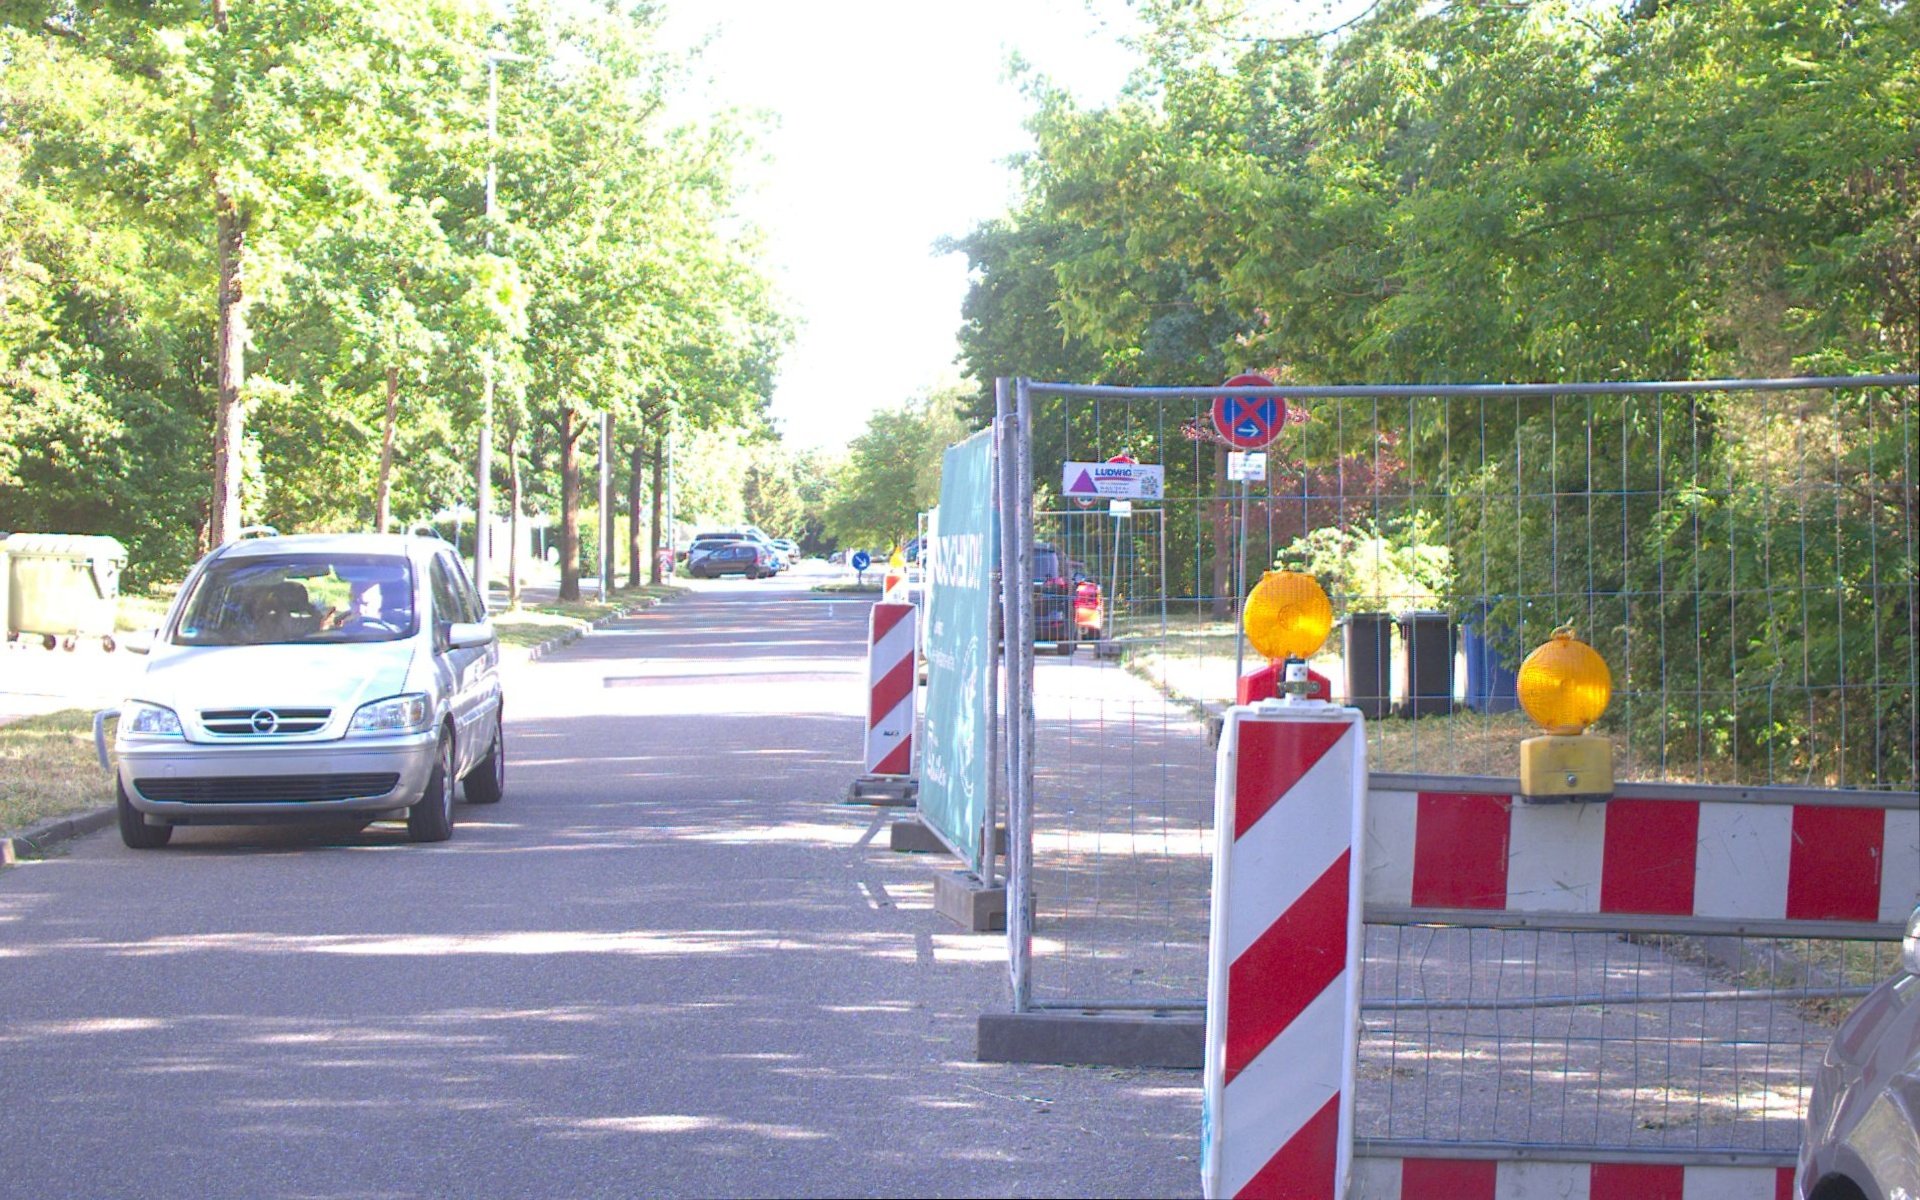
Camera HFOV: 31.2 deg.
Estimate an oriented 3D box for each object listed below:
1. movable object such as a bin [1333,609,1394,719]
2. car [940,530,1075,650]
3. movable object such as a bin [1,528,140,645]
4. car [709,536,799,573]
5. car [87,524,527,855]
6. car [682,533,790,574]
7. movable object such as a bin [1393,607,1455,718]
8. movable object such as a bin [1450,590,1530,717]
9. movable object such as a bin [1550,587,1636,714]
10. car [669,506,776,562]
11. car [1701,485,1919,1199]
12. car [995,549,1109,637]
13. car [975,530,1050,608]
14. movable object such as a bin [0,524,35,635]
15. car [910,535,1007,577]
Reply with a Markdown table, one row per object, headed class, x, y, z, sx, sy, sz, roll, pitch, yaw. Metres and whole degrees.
| class | x | y | z | sx | sy | sz | roll | pitch | yaw |
| --- | --- | --- | --- | --- | --- | --- | --- | --- | --- |
| movable object such as a bin | 3.246 | 0.511 | 27.660 | 0.413 | 0.867 | 0.484 | -1 | 0 | -1 |
| car | 0.755 | -0.181 | 51.390 | 1.810 | 1.645 | 4.420 | 2 | 1 | 3 |
| movable object such as a bin | -11.110 | -0.179 | 42.983 | 1.270 | 1.430 | 1.181 | 0 | 1 | 15 |
| car | -9.823 | -2.168 | 164.067 | 4.107 | 1.571 | 1.958 | 2 | 1 | 1 |
| car | -3.481 | 0.405 | 19.011 | 1.659 | 1.590 | 4.009 | -2 | 1 | 0 |
| car | -9.623 | -2.000 | 147.762 | 4.319 | 1.571 | 2.046 | 2 | 1 | 6 |
| movable object such as a bin | 3.736 | 0.500 | 27.705 | 0.413 | 0.867 | 0.484 | -1 | 0 | -1 |
| movable object such as a bin | 4.255 | 0.425 | 27.629 | 0.519 | 0.996 | 0.608 | -1 | 0 | -1 |
| movable object such as a bin | 5.104 | 0.405 | 27.741 | 0.562 | 0.996 | 0.608 | -1 | 0 | -1 |
| car | -11.963 | -3.338 | 172.967 | 5.199 | 2.612 | 2.294 | 2 | 1 | -6 |
| car | 2.029 | 0.711 | 3.087 | 1.678 | 1.616 | 4.138 | 1 | 1 | -2 |
| car | 1.522 | -0.141 | 58.255 | 1.661 | 1.371 | 4.155 | 2 | 1 | -2 |
| car | 1.251 | -0.768 | 82.818 | 1.623 | 1.767 | 3.669 | 2 | 1 | -1 |
| movable object such as a bin | -12.782 | -0.272 | 44.600 | 1.141 | 1.430 | 1.273 | 0 | 1 | -35 |
| car | -0.047 | -1.836 | 143.380 | 3.839 | 1.571 | 1.688 | 2 | 1 | 6 |
